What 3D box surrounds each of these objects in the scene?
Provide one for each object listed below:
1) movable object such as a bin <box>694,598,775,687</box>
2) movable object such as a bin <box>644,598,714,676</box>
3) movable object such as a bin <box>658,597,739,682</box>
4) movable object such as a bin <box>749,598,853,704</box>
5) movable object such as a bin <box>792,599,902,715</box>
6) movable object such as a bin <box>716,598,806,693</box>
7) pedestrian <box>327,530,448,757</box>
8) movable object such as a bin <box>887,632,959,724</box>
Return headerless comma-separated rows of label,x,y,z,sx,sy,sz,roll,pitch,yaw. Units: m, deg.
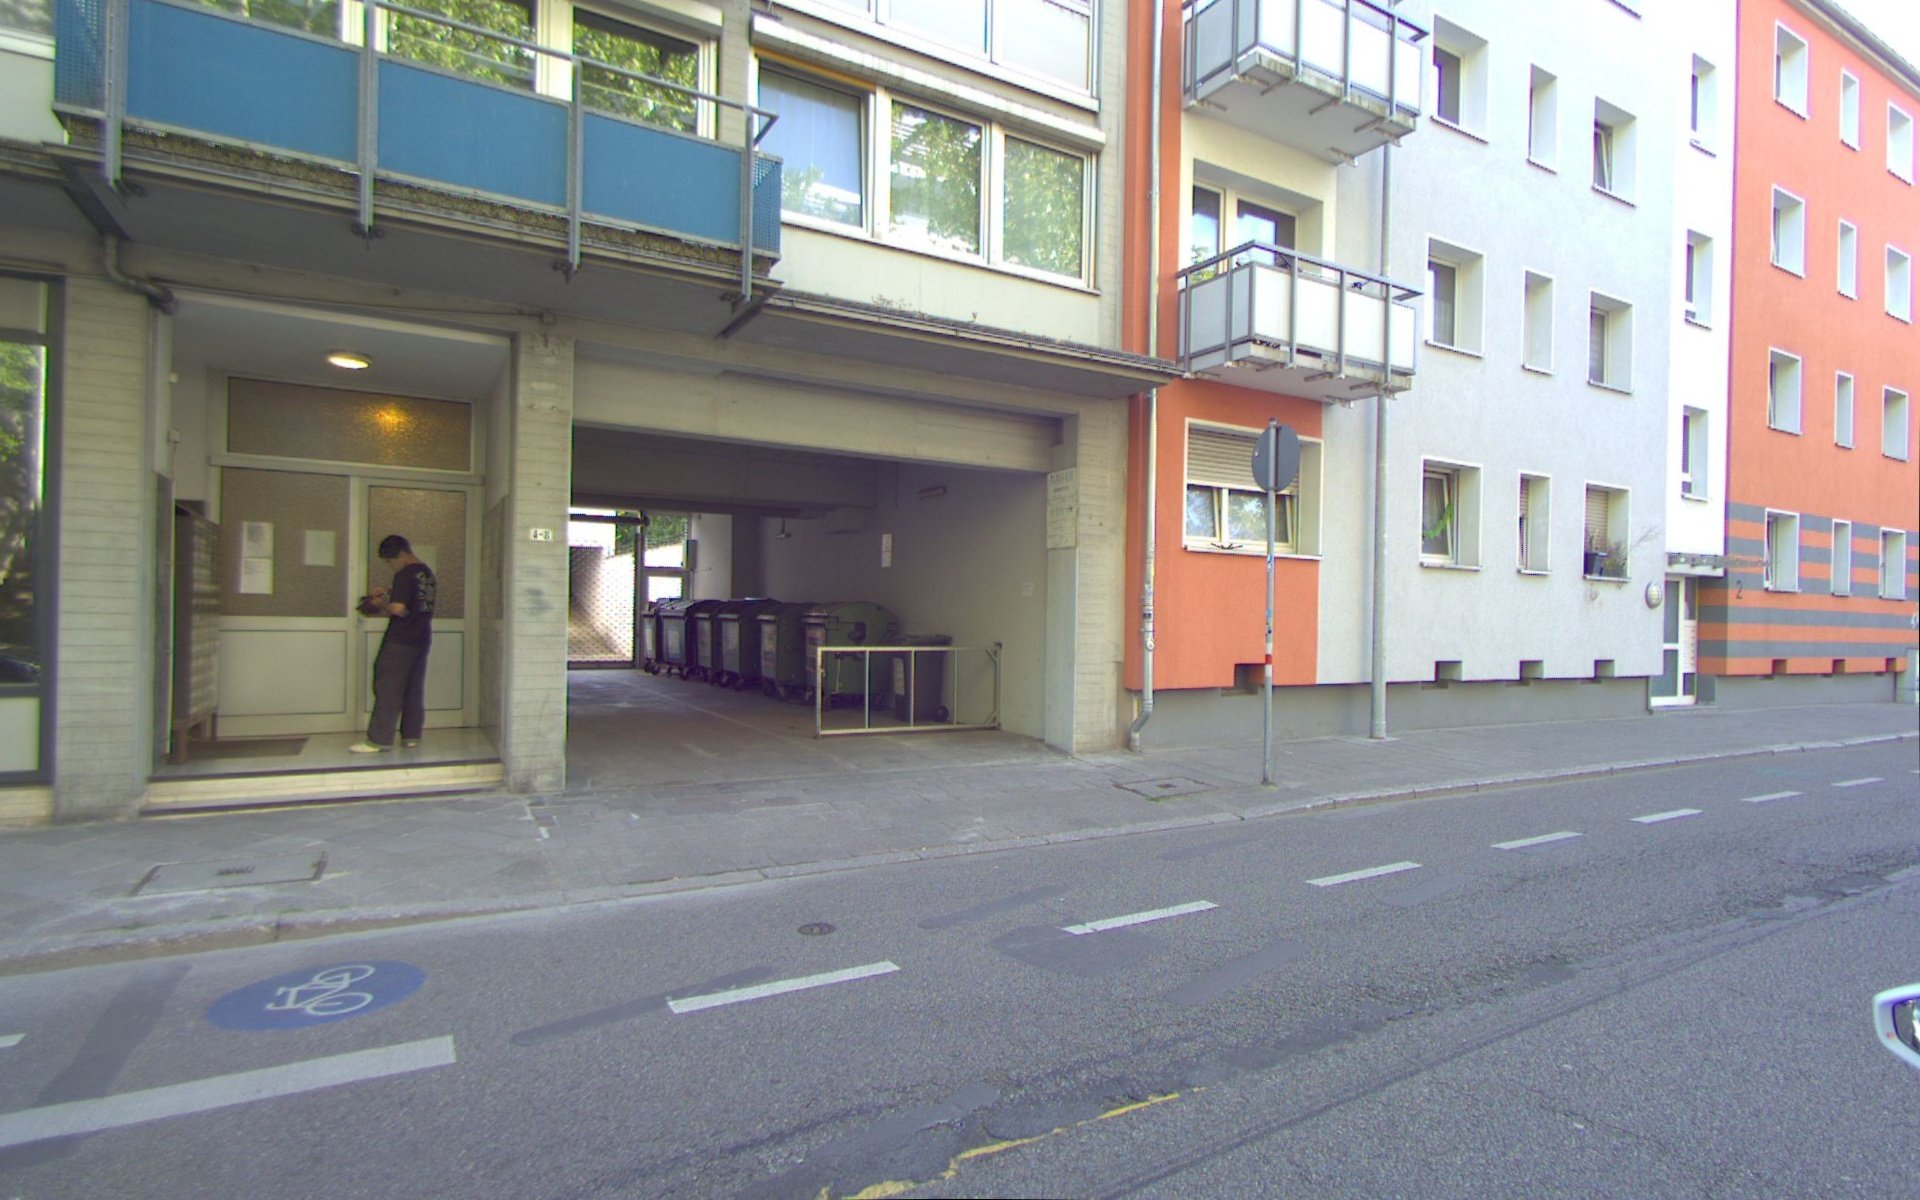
movable object such as a bin,-3.982,0.731,17.671,1.080,1.503,1.159,1,0,-30
movable object such as a bin,-5.561,0.718,19.877,1.167,1.503,0.819,1,0,-30
movable object such as a bin,-4.883,0.718,18.693,1.167,1.503,1.215,1,0,-30
movable object such as a bin,-2.407,0.739,15.153,1.167,1.503,1.252,1,0,-30
movable object such as a bin,-1.567,0.747,13.784,1.086,1.503,1.251,1,0,-30
movable object such as a bin,-3.307,0.732,16.638,1.167,1.503,1.073,1,0,-30
pedestrian,-4.575,0.336,8.057,0.537,1.736,0.662,1,0,3
movable object such as a bin,-0.458,0.949,12.440,0.687,1.094,0.579,1,0,-30
